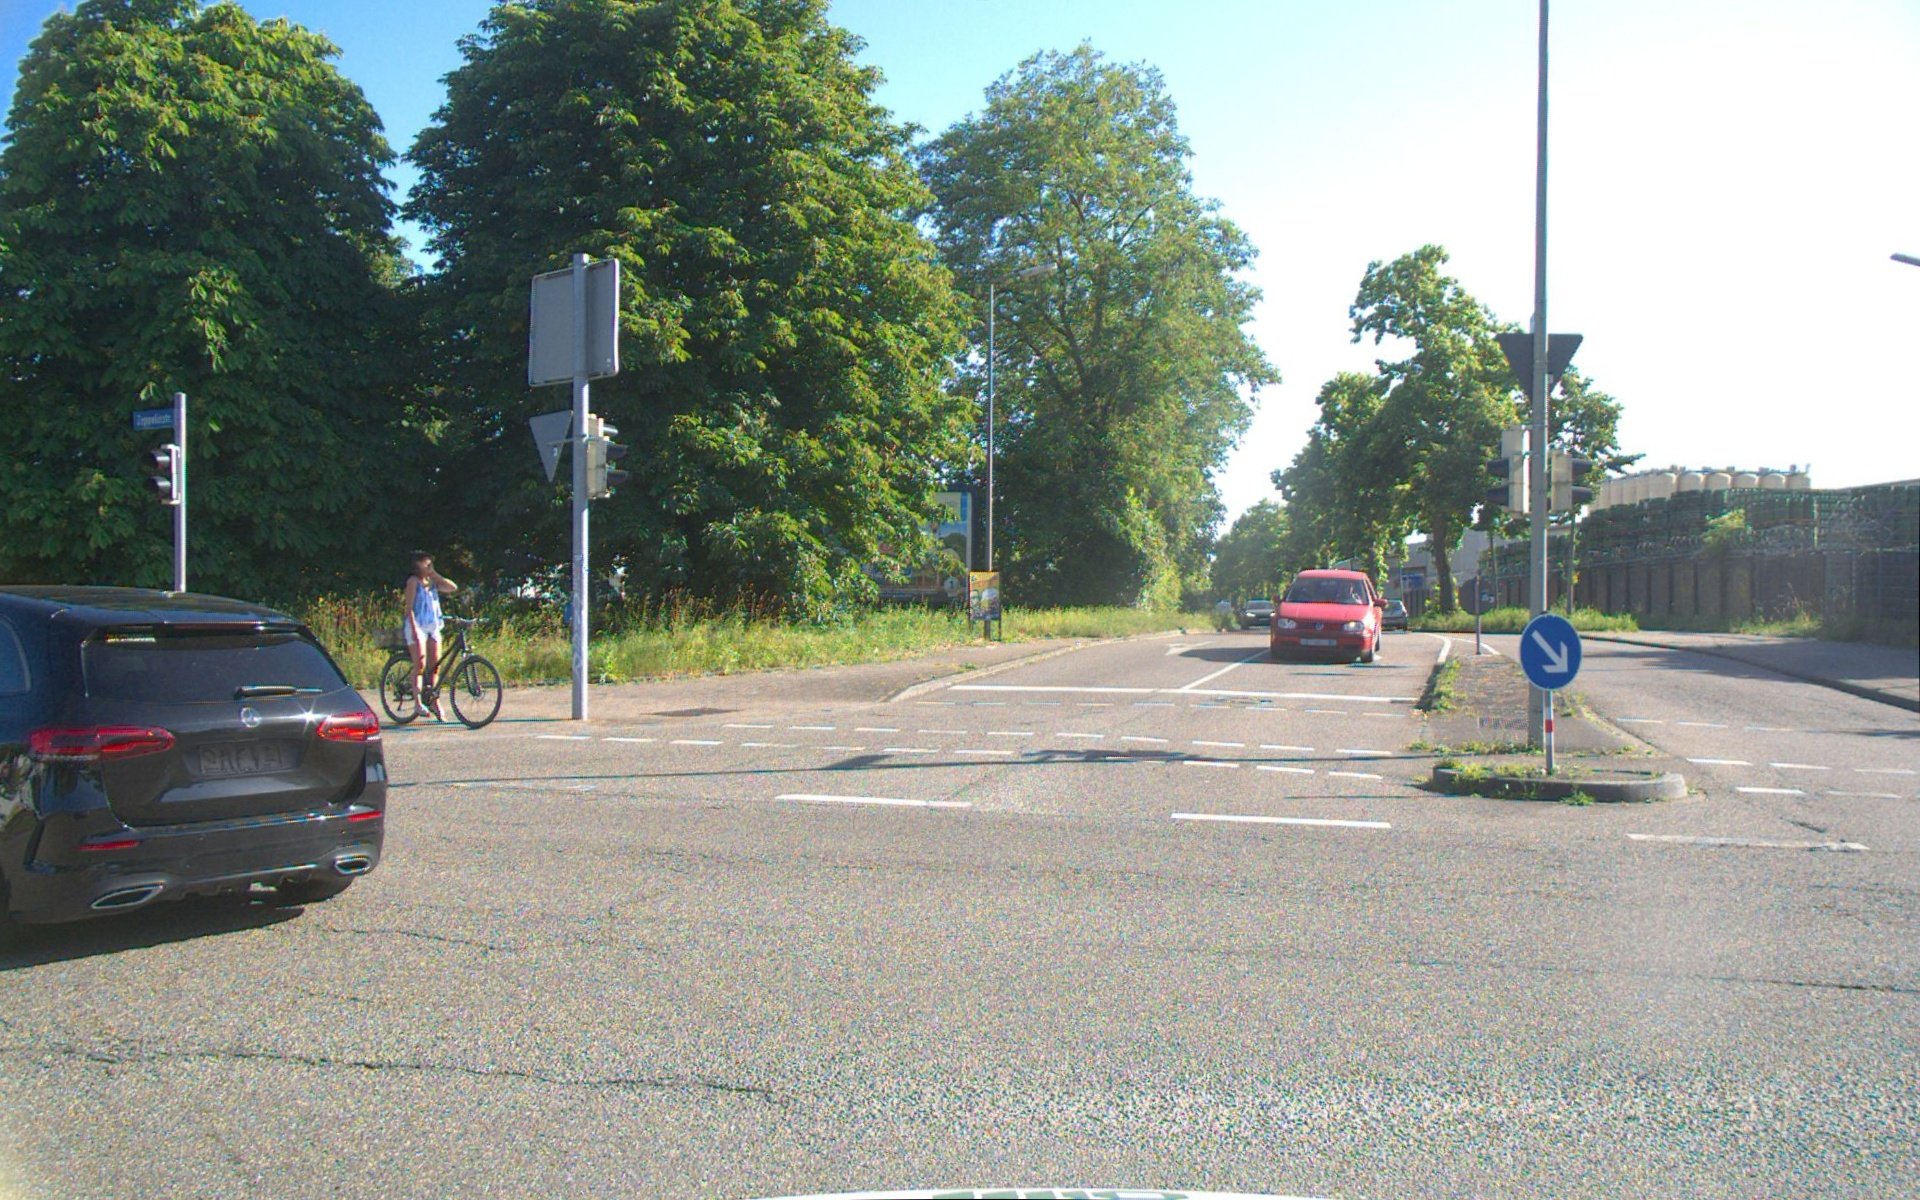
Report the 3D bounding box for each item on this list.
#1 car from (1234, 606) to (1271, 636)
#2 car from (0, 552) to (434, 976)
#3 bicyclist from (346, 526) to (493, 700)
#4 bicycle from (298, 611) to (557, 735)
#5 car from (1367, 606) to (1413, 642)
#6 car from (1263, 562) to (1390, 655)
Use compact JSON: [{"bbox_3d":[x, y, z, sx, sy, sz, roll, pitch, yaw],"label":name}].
[{"bbox_3d":[15.082,1.061,85.437,1.818,1.495,4.142,0,0,9],"label":"car"},{"bbox_3d":[-4.575,0.630,8.191,3.908,1.620,1.769,0,0,35],"label":"car"},{"bbox_3d":[-5.588,0.131,17.106,1.165,1.722,0.890,1,-1,32],"label":"bicyclist"},{"bbox_3d":[-5.523,0.715,17.050,2.891,1.145,0.900,1,-1,33],"label":"bicycle"},{"bbox_3d":[20.354,1.124,78.402,1.653,1.660,3.133,0,0,6],"label":"car"},{"bbox_3d":[6.439,0.094,28.765,1.818,1.495,4.141,0,1,17],"label":"car"}]
